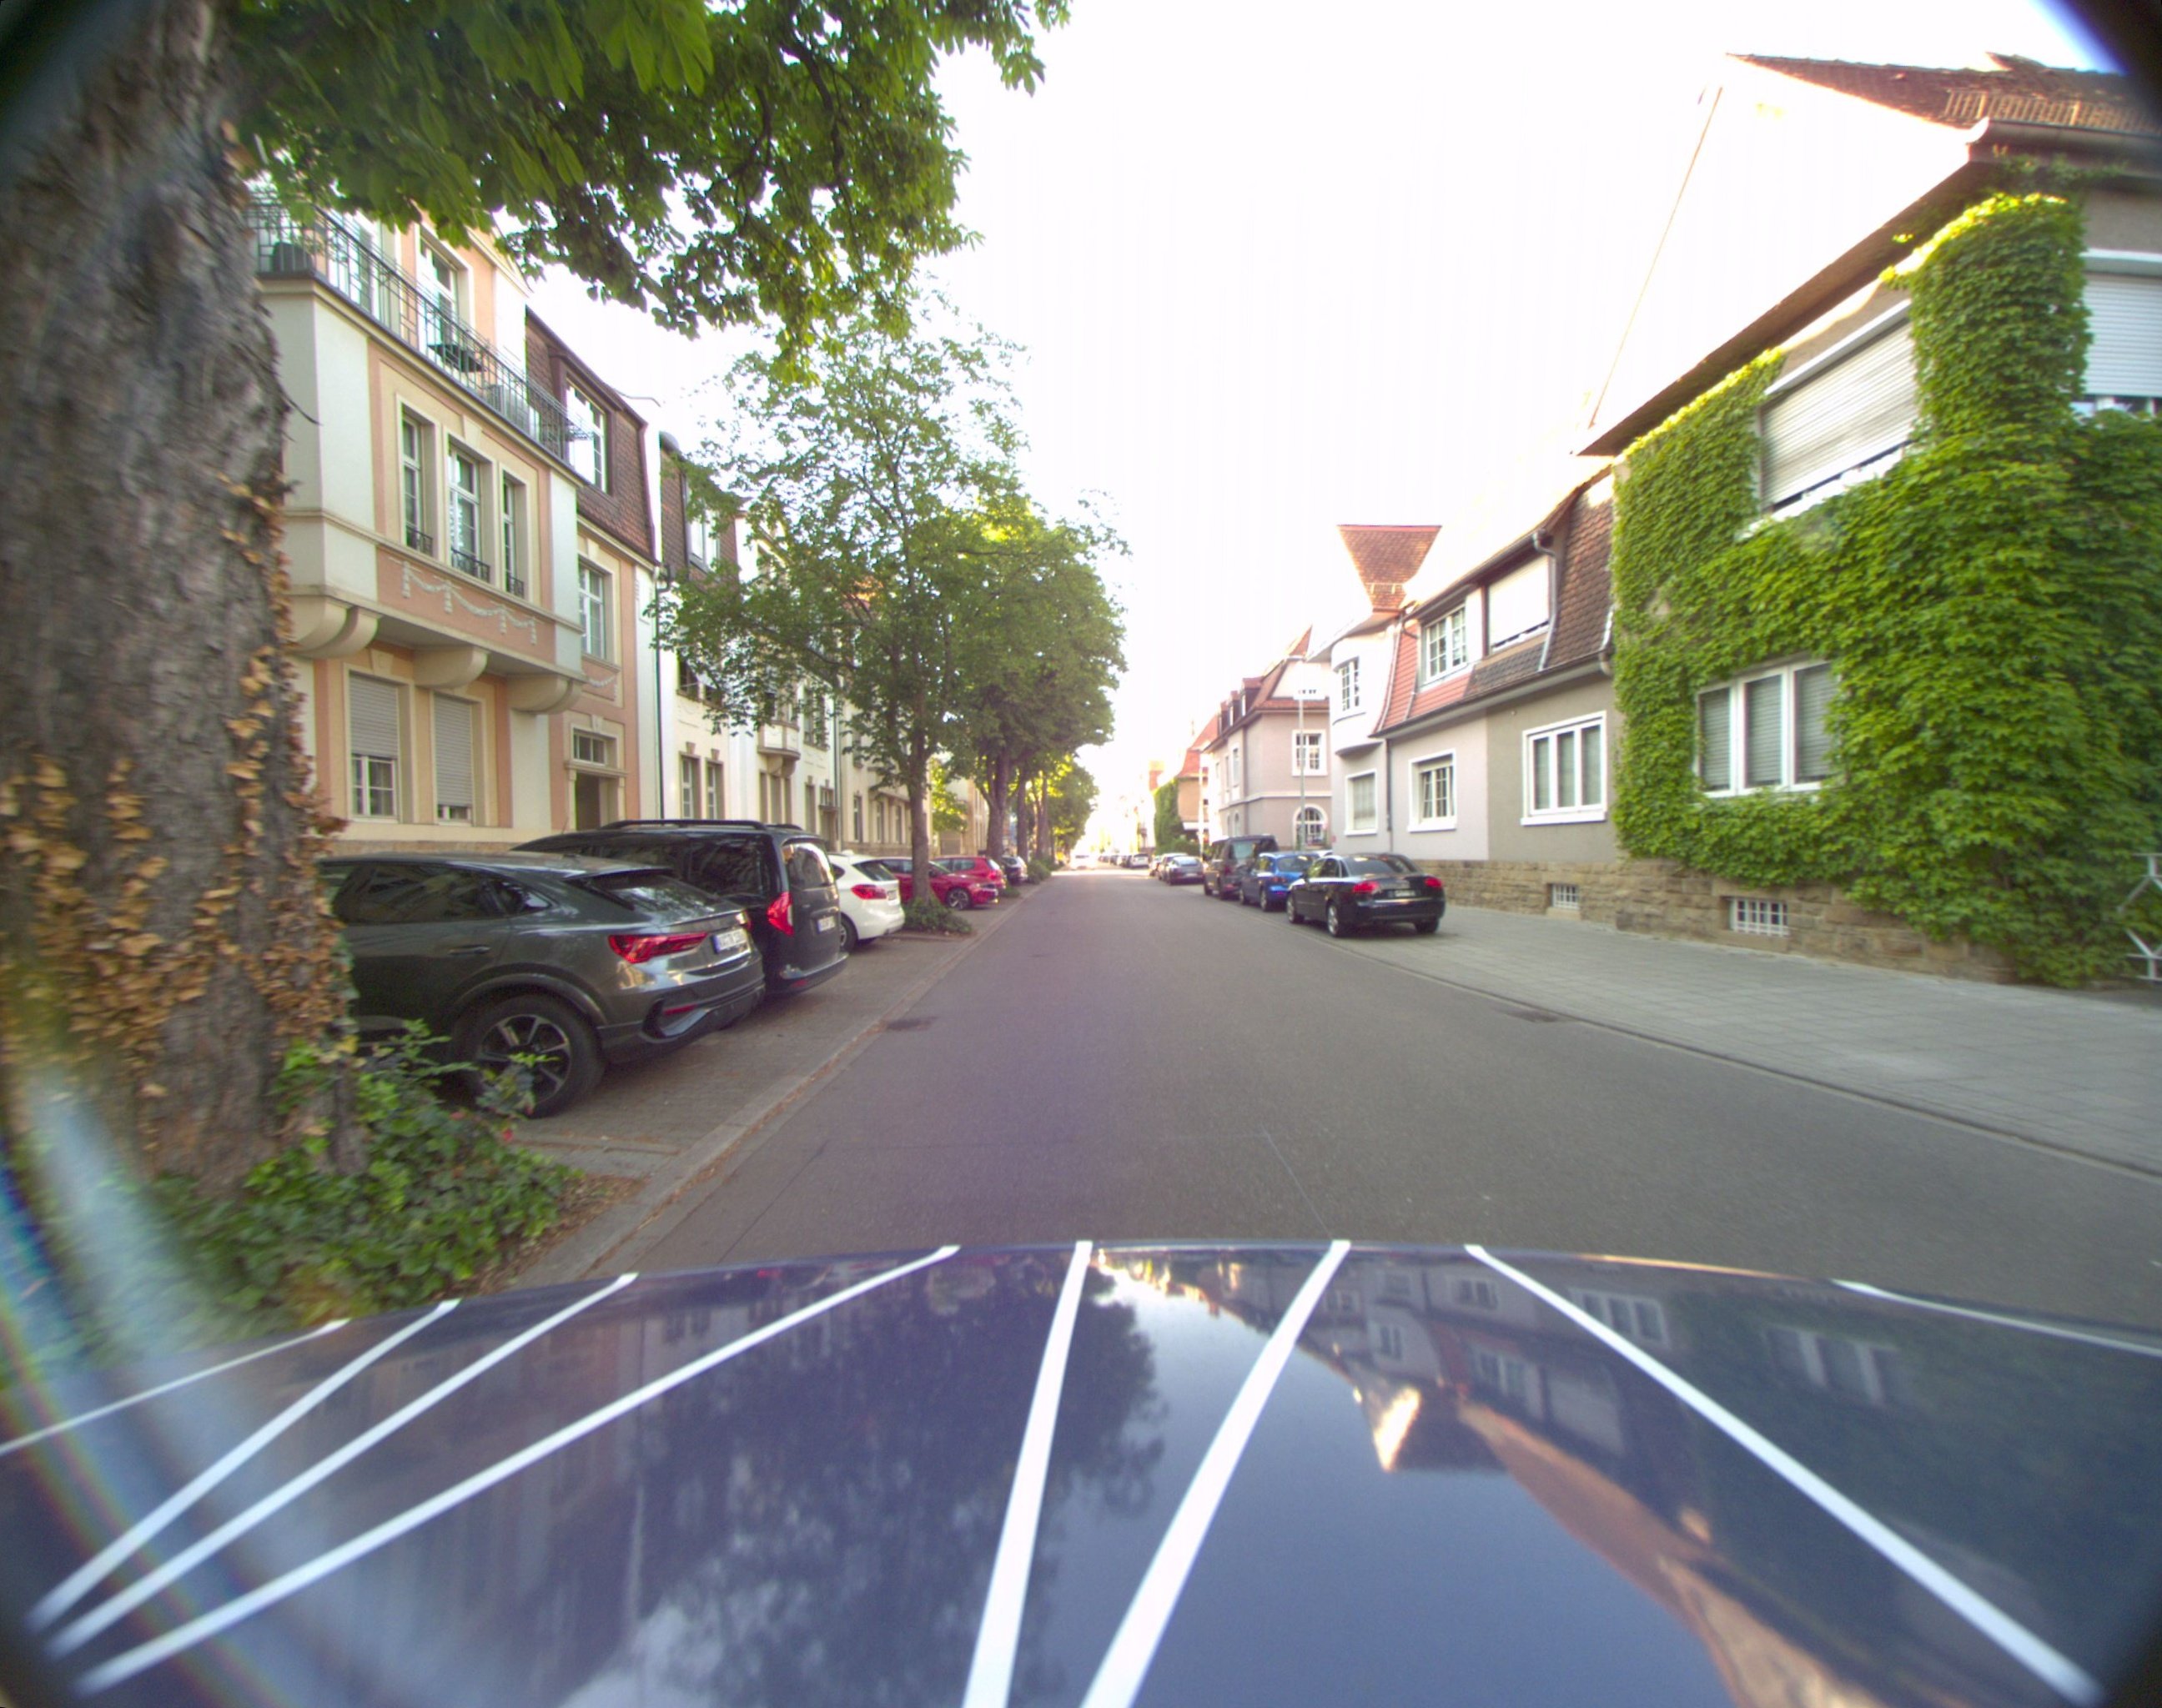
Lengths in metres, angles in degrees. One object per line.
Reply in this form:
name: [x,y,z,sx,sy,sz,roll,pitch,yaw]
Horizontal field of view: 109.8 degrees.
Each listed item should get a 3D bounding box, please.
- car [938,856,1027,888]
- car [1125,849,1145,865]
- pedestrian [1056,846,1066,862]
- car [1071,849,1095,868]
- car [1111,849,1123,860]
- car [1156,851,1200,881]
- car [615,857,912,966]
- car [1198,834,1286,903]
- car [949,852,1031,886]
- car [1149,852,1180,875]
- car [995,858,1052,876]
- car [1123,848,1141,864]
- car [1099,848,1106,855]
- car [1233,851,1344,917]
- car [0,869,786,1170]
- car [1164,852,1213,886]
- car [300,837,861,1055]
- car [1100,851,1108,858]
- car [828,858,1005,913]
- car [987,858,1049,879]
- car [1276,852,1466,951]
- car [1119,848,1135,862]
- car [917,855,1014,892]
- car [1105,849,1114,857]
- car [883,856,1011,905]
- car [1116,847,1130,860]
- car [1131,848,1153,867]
car: [-4.336,0.781,33.736,3.680,1.390,1.576,0,1,2]
car: [5.298,0.265,74.749,1.699,1.520,3.677,-3,0,2]
pedestrian: [-2.547,0.026,97.746,1.119,1.926,1.097,-3,1,-1]
car: [0.185,0.344,62.889,1.819,1.454,4.072,-2,0,1]
car: [5.495,0.073,115.341,1.699,1.520,3.677,-3,0,2]
car: [5.261,0.595,41.620,1.932,1.458,4.062,-3,0,2]
car: [-4.840,0.846,12.003,3.950,1.568,1.719,0,1,0]
car: [5.130,0.416,24.830,1.842,1.964,4.612,-3,0,0]
car: [-4.302,0.694,36.311,3.680,1.548,1.576,0,1,2]
car: [5.413,0.577,49.860,1.662,1.354,3.677,-3,0,2]
car: [-3.541,0.814,47.114,3.399,1.057,1.542,0,1,2]
car: [5.397,0.216,80.241,1.699,1.520,3.677,-3,0,2]
car: [5.749,-0.679,202.150,1.699,1.520,3.677,-3,0,2]
car: [5.267,0.699,19.819,1.768,1.438,4.062,-3,0,0]
car: [-4.544,0.890,4.959,4.522,1.514,1.844,0,1,-4]
car: [5.041,0.676,36.143,1.932,1.376,4.063,-3,0,4]
car: [-4.444,0.759,7.303,4.121,1.827,1.844,0,1,-2]
car: [5.206,0.047,172.769,1.699,1.520,3.677,-3,0,2]
car: [-4.548,0.845,21.409,4.530,1.443,1.868,0,1,3]
car: [-3.589,0.815,43.908,3.399,1.143,1.542,0,1,2]
car: [5.118,0.742,14.112,1.806,1.438,4.428,-3,0,0]
car: [5.430,0.131,90.489,1.699,1.520,3.677,-3,0,2]
car: [-4.696,0.772,31.181,3.680,1.457,1.576,0,1,2]
car: [5.504,-0.201,148.599,1.699,1.520,3.677,-3,0,2]
car: [-4.154,0.801,23.937,3.680,1.473,1.659,0,1,3]
car: [5.497,-0.055,100.214,1.699,1.520,3.677,-3,0,2]
car: [5.387,0.285,67.484,1.699,1.558,3.677,-3,0,2]
